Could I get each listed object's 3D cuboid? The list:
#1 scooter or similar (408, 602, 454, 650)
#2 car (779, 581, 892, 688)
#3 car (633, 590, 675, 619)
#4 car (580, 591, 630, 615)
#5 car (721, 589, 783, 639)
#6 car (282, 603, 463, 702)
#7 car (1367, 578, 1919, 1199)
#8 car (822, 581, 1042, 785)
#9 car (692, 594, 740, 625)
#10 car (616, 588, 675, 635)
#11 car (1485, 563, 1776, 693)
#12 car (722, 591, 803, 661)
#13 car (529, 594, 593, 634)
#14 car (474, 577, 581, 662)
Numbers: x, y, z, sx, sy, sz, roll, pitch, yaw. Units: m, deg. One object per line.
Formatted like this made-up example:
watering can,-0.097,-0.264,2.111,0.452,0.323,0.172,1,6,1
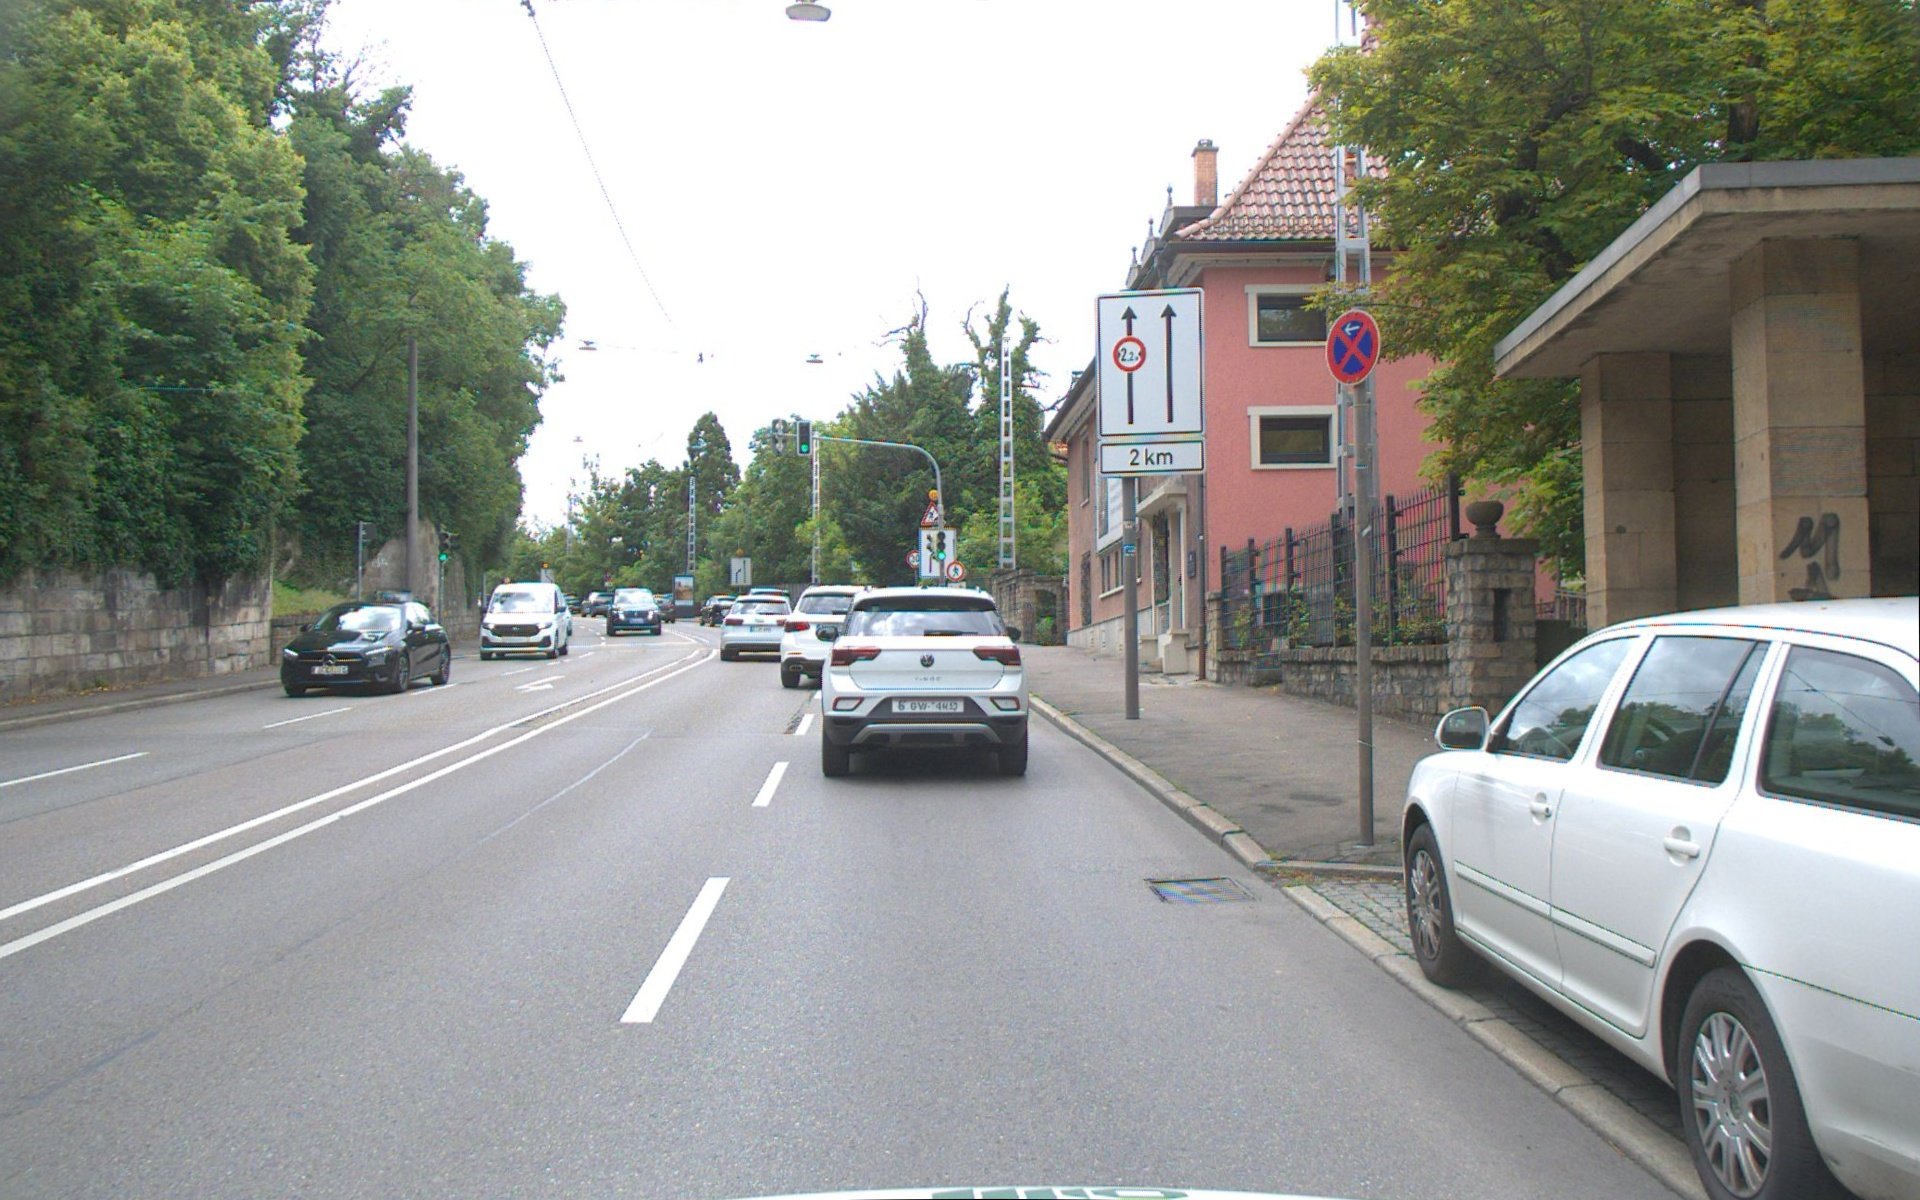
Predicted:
scooter or similar,-14.765,0.735,46.175,0.426,1.259,1.093,3,-2,37
car,-2.063,0.573,27.807,1.723,1.638,3.792,1,-1,-3
car,-16.218,0.232,87.503,1.752,1.480,3.981,1,-1,-17
car,-23.817,0.215,110.918,1.974,1.603,4.104,0,-1,-32
car,-7.028,0.458,55.897,1.956,1.583,4.143,1,0,-8
car,-9.406,0.788,26.813,1.531,1.426,4.251,-2,0,-3
car,2.623,0.693,4.976,1.641,1.486,4.365,-2,0,-1
car,-0.213,0.690,15.076,1.722,1.583,3.795,1,-1,0
car,-11.751,0.480,79.485,1.959,1.475,4.136,0,-1,-13
car,-11.440,0.387,60.304,1.814,1.661,4.354,0,0,-7
car,8.139,0.293,20.502,1.953,1.447,4.000,0,1,-1
car,-4.536,0.595,38.060,1.724,1.497,3.790,1,-1,-7
car,-15.025,0.498,62.377,1.682,1.427,4.020,-1,0,-4
car,-10.614,0.488,40.851,1.857,1.880,4.389,4,-1,-7
